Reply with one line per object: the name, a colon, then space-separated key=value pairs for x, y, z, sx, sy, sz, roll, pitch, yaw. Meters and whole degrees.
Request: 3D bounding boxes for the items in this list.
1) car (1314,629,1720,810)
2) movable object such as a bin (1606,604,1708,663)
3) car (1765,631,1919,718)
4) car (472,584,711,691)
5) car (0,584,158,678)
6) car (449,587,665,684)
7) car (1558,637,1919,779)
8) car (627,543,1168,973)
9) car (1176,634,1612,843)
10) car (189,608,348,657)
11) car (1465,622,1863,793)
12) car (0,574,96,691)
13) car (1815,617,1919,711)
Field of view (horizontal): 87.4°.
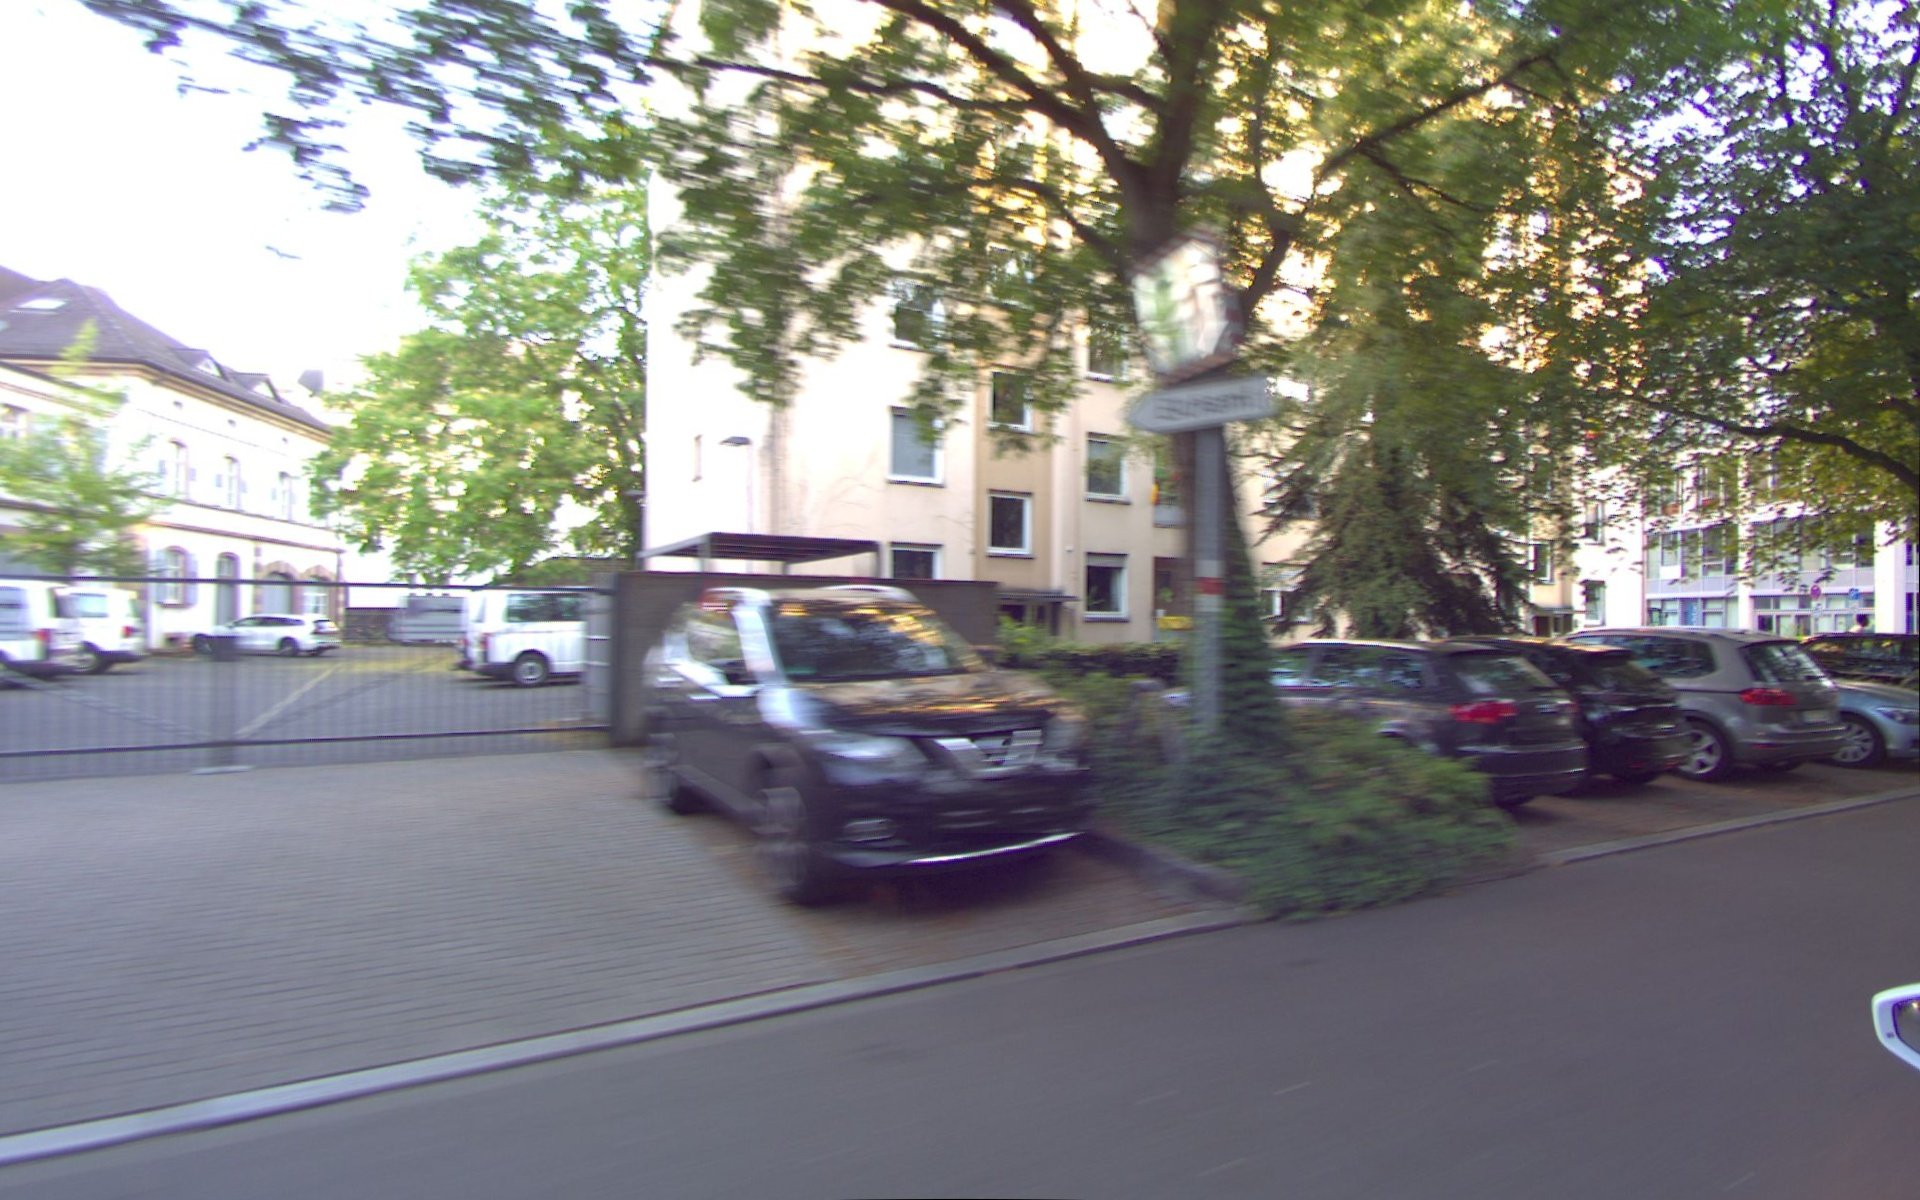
car: x=5.654 y=1.093 z=10.566 sx=1.646 sy=1.526 sz=3.387 roll=1 pitch=-1 yaw=-31
movable object such as a bin: x=32.863 y=1.560 z=47.517 sx=1.768 sy=2.669 sz=4.108 roll=1 pitch=-1 yaw=-5
car: x=17.436 y=1.321 z=17.700 sx=2.048 sy=1.443 sz=4.691 roll=1 pitch=-1 yaw=-31
car: x=-7.517 y=0.704 z=20.597 sx=4.364 sy=1.982 sz=1.773 roll=0 pitch=-1 yaw=-30
car: x=-20.989 y=0.696 z=22.906 sx=3.953 sy=2.040 sz=1.676 roll=1 pitch=-1 yaw=-30
car: x=-9.132 y=0.749 z=22.874 sx=4.364 sy=2.022 sz=1.773 roll=0 pitch=-1 yaw=-30
car: x=10.234 y=1.251 z=12.888 sx=1.727 sy=1.398 sz=4.078 roll=1 pitch=0 yaw=-31
car: x=-0.806 y=0.732 z=6.894 sx=1.976 sy=1.917 sz=4.397 roll=1 pitch=-1 yaw=-30
car: x=3.738 y=1.072 z=9.159 sx=1.576 sy=1.461 sz=3.387 roll=1 pitch=-1 yaw=-31
car: x=-24.376 y=1.161 z=35.533 sx=4.229 sy=1.658 sz=1.774 roll=1 pitch=-1 yaw=-8
car: x=7.958 y=1.089 z=11.633 sx=1.741 sy=1.630 sz=3.387 roll=1 pitch=-1 yaw=-31
car: x=-18.070 y=0.565 z=17.746 sx=3.953 sy=2.040 sz=1.676 roll=1 pitch=-1 yaw=-30
car: x=19.192 y=1.247 z=18.840 sx=2.041 sy=1.707 sz=4.373 roll=1 pitch=0 yaw=-31
